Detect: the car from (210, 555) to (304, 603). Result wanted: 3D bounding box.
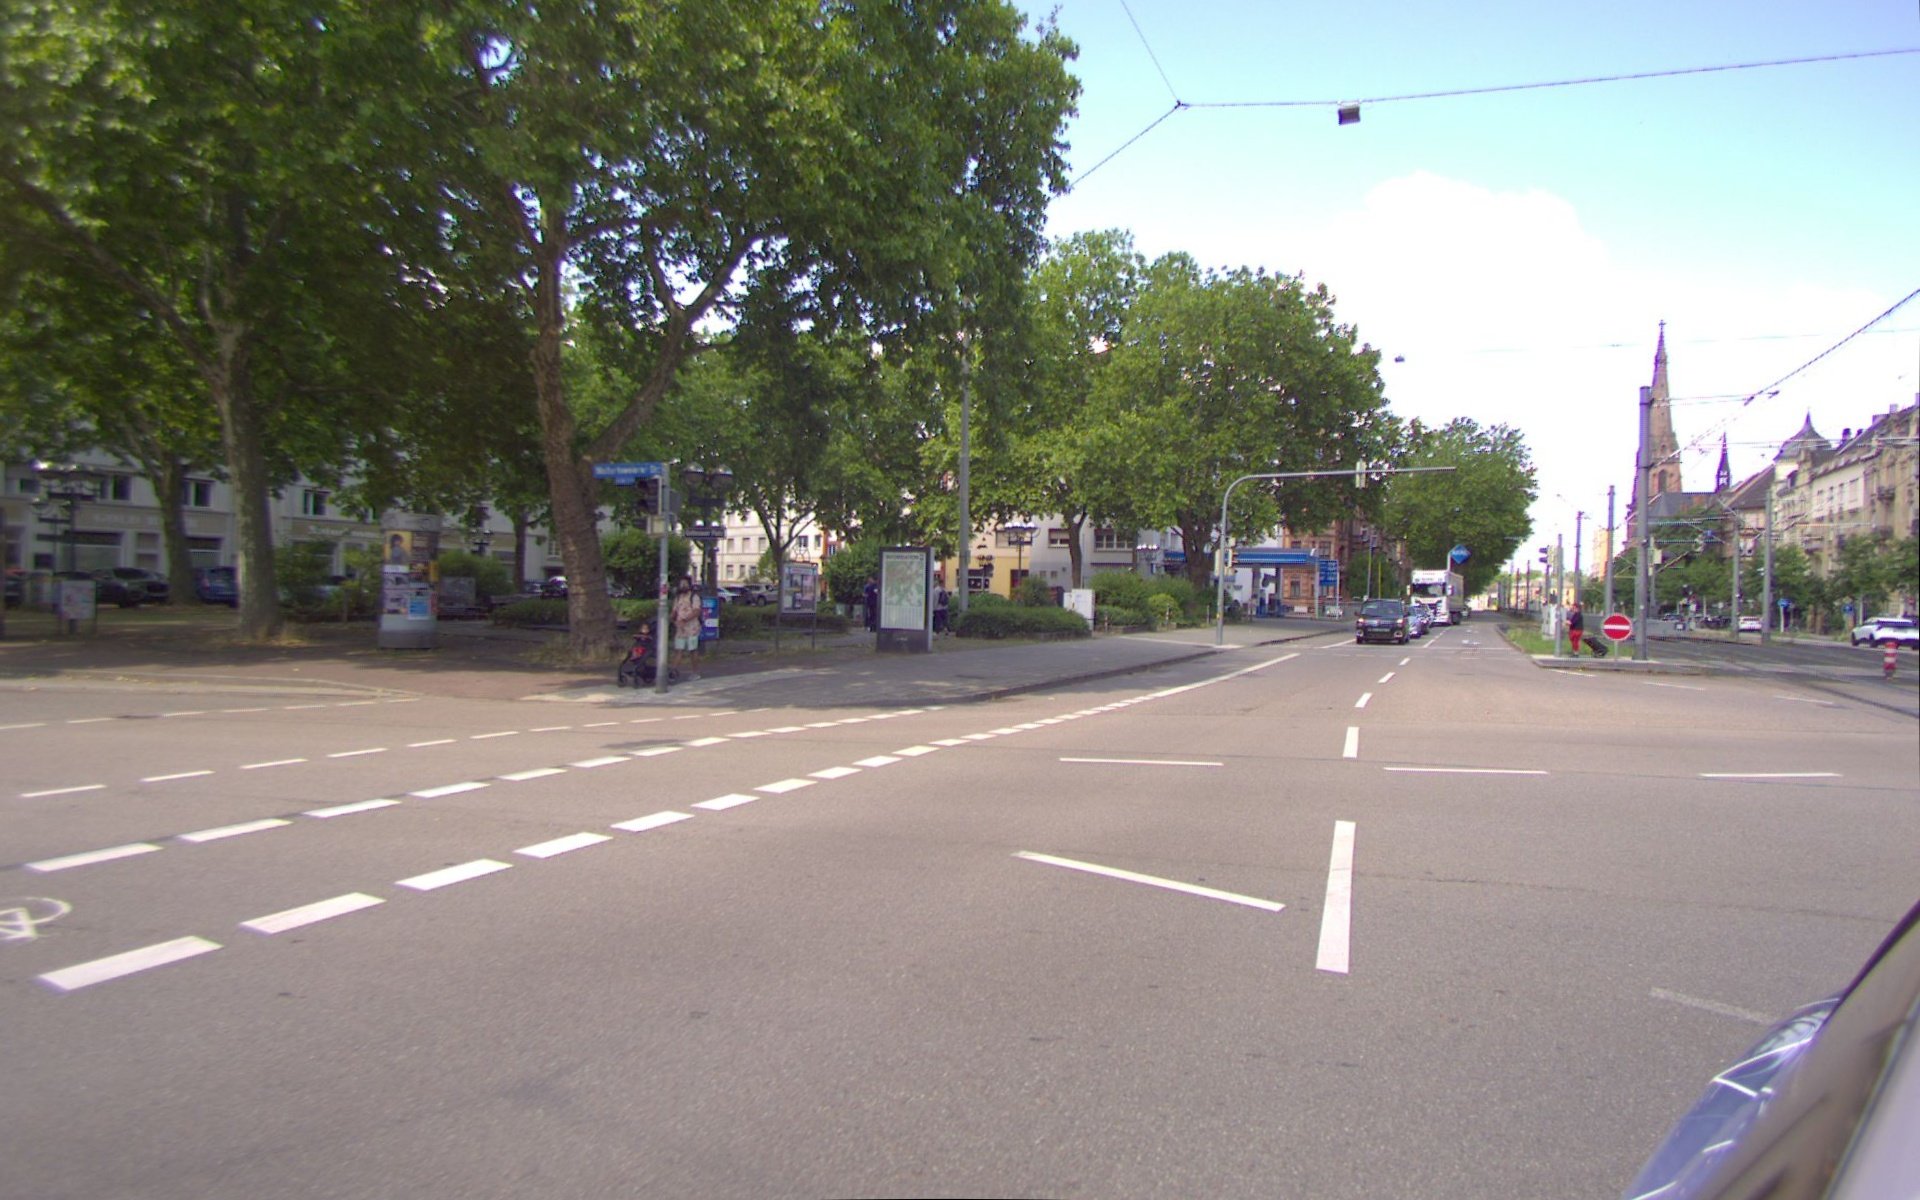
[{"bbox_3d":[-31.985,-0.971,46.023,3.966,2.039,1.979,2,1,30],"label":"car"}]

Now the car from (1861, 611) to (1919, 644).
[{"bbox_3d":[46.183,1.339,49.766,1.803,1.525,4.091,2,0,27],"label":"car"}]

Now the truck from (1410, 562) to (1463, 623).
[{"bbox_3d":[35.282,-0.571,74.836,2.894,4.201,6.519,2,1,30],"label":"truck"}]

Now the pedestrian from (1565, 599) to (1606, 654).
[{"bbox_3d":[17.919,0.738,28.991,0.765,1.510,0.655,3,1,16],"label":"pedestrian"}]

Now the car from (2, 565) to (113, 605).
[{"bbox_3d":[-34.774,-0.588,38.994,3.964,1.440,1.980,2,1,29],"label":"car"}]

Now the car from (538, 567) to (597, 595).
[{"bbox_3d":[-28.858,-1.384,74.383,3.967,1.988,1.979,2,1,30],"label":"car"}]

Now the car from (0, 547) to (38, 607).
[{"bbox_3d":[-35.851,-0.875,37.004,3.964,2.102,1.980,2,1,29],"label":"car"}]

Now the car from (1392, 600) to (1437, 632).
[{"bbox_3d":[24.164,0.818,53.714,1.838,1.464,3.933,2,2,29],"label":"car"}]

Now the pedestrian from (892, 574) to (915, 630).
[{"bbox_3d":[-1.806,0.059,32.476,0.595,1.772,0.698,2,1,4],"label":"pedestrian"}]

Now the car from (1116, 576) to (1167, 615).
[{"bbox_3d":[11.959,-0.294,66.426,2.094,2.450,3.960,2,1,29],"label":"car"}]

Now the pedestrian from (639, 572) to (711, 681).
[{"bbox_3d":[-4.529,0.402,16.082,0.567,1.666,0.911,2,1,36],"label":"pedestrian"}]

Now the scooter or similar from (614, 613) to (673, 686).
[{"bbox_3d":[-4.869,0.751,15.567,0.488,1.069,0.699,2,1,37],"label":"scooter or similar"}]

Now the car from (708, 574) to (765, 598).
[{"bbox_3d":[-16.447,-1.033,74.567,3.967,1.682,1.735,2,1,30],"label":"car"}]

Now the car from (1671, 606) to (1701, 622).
[{"bbox_3d":[72.930,1.388,101.745,1.768,1.554,4.345,1,0,27],"label":"car"}]

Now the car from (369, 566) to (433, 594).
[{"bbox_3d":[-34.637,-1.236,62.705,3.967,1.657,1.726,2,1,30],"label":"car"}]

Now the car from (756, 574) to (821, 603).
[{"bbox_3d":[-11.360,-0.794,67.098,3.967,1.822,1.850,2,1,30],"label":"car"}]

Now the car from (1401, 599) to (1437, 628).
[{"bbox_3d":[26.823,0.748,59.079,1.671,1.582,3.716,2,1,28],"label":"car"}]

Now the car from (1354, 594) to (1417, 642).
[{"bbox_3d":[17.002,0.683,40.338,1.838,1.748,4.374,2,1,29],"label":"car"}]

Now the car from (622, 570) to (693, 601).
[{"bbox_3d":[-20.240,-0.996,67.648,4.454,1.929,2.082,2,1,30],"label":"car"}]

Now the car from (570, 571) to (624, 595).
[{"bbox_3d":[-27.479,-1.260,76.620,3.967,1.718,1.718,2,1,30],"label":"car"}]

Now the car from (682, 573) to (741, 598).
[{"bbox_3d":[-17.723,-1.050,72.104,3.967,1.701,1.835,2,1,30],"label":"car"}]

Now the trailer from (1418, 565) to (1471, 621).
[{"bbox_3d":[39.032,-0.604,81.275,2.893,4.128,11.526,2,1,30],"label":"trailer"}]

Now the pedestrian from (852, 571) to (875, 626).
[{"bbox_3d":[-3.157,-0.043,33.280,0.595,1.772,0.698,2,1,4],"label":"pedestrian"}]

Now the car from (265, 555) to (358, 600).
[{"bbox_3d":[-30.875,-1.080,48.182,3.961,2.039,1.982,2,1,27],"label":"car"}]

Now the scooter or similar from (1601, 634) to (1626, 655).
[{"bbox_3d":[18.626,1.259,28.852,0.514,0.542,0.309,4,1,16],"label":"scooter or similar"}]

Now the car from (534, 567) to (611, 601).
[{"bbox_3d":[-23.630,-0.962,61.684,4.454,1.929,2.082,2,1,30],"label":"car"}]

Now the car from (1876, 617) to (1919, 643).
[{"bbox_3d":[58.137,1.816,62.243,1.773,1.514,3.799,2,0,28],"label":"car"}]

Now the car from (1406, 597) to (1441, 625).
[{"bbox_3d":[31.311,0.723,68.334,1.838,1.726,4.092,2,1,29],"label":"car"}]

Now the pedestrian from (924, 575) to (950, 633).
[{"bbox_3d":[-0.716,0.118,31.465,0.680,1.744,0.719,2,1,4],"label":"pedestrian"}]

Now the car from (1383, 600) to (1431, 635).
[{"bbox_3d":[20.967,0.785,47.409,1.719,1.484,4.284,2,1,28],"label":"car"}]

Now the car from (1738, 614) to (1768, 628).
[{"bbox_3d":[74.157,1.983,94.671,1.640,1.249,3.033,2,0,28],"label":"car"}]
